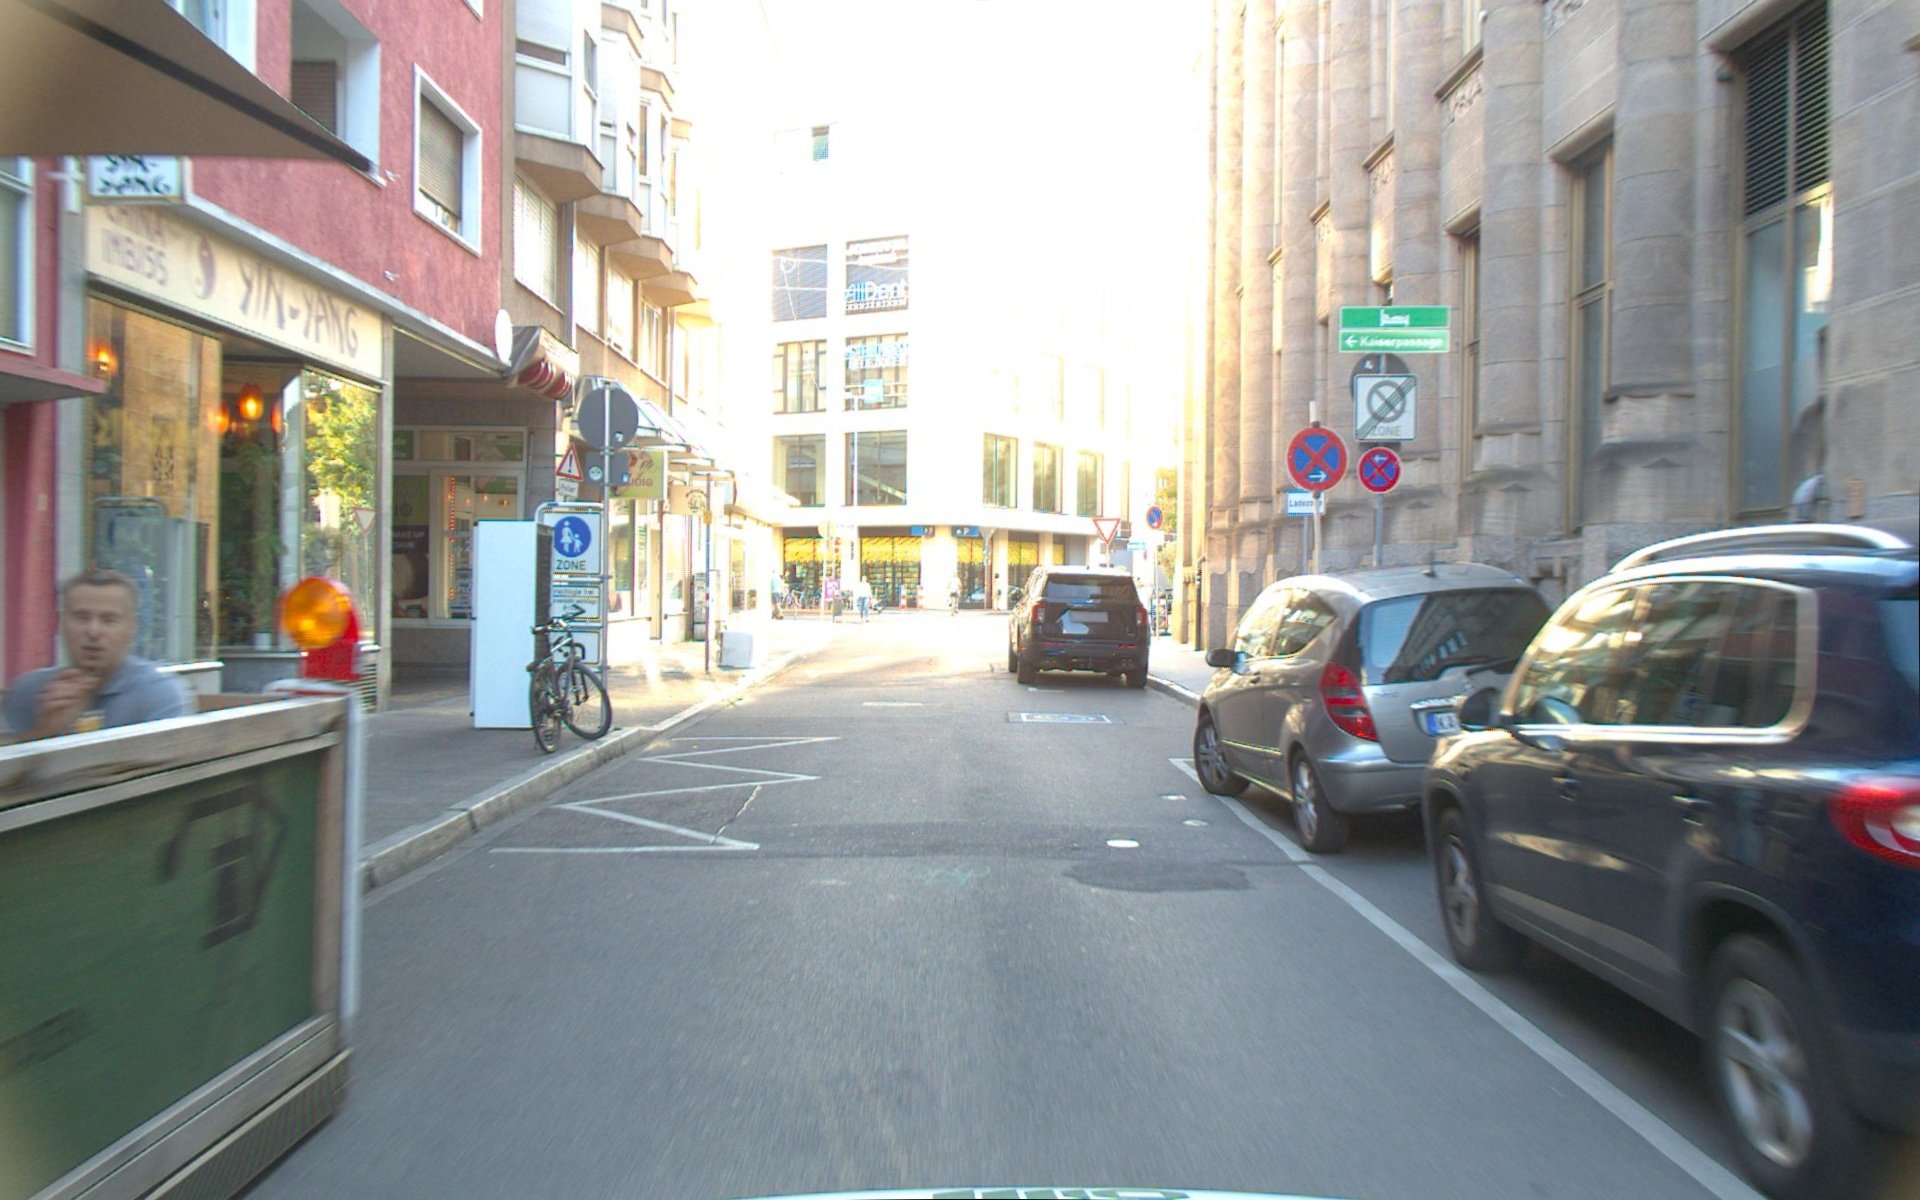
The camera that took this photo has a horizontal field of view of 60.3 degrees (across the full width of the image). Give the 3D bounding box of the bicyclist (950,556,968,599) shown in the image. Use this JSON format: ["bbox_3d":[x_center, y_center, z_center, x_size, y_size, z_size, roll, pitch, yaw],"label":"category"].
[{"bbox_3d":[-0.057,-0.902,67.330,0.669,1.725,0.644,1,0,-4],"label":"bicyclist"}]

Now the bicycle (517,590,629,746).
[{"bbox_3d":[-3.245,0.535,14.015,0.532,1.212,1.842,1,1,-1],"label":"bicycle"}]

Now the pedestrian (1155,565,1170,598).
[{"bbox_3d":[11.579,-1.075,94.582,0.659,1.868,0.646,1,0,28],"label":"pedestrian"}]

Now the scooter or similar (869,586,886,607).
[{"bbox_3d":[-3.542,-0.146,71.263,0.379,0.899,0.769,1,0,29],"label":"scooter or similar"}]

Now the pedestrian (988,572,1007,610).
[{"bbox_3d":[1.781,-0.433,78.415,0.659,1.775,0.646,1,0,31],"label":"pedestrian"}]

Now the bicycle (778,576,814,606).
[{"bbox_3d":[-7.113,-0.392,71.647,0.502,1.277,1.976,1,0,28],"label":"bicycle"}]

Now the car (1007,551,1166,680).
[{"bbox_3d":[1.872,0.189,26.032,1.953,1.814,4.933,1,1,-2],"label":"car"}]

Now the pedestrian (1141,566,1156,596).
[{"bbox_3d":[10.829,-1.097,95.031,0.659,1.704,0.646,1,0,28],"label":"pedestrian"}]

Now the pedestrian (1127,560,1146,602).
[{"bbox_3d":[7.319,-0.794,68.610,0.688,1.699,0.643,1,2,17],"label":"pedestrian"}]

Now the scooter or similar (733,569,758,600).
[{"bbox_3d":[-9.086,-0.641,70.102,0.379,1.282,1.269,1,0,28],"label":"scooter or similar"}]

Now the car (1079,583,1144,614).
[{"bbox_3d":[7.725,-0.087,84.162,1.744,1.478,4.224,1,1,29],"label":"car"}]

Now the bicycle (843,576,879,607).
[{"bbox_3d":[-4.177,-0.341,69.972,0.569,1.277,2.042,1,0,26],"label":"bicycle"}]

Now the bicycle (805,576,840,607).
[{"bbox_3d":[-5.889,-0.345,70.958,0.502,1.277,1.976,1,0,28],"label":"bicycle"}]

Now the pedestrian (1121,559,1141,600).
[{"bbox_3d":[7.191,-0.853,69.493,0.688,1.699,0.643,1,2,17],"label":"pedestrian"}]

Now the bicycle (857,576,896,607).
[{"bbox_3d":[-3.493,-0.345,69.657,0.651,1.277,2.138,1,0,26],"label":"bicycle"}]

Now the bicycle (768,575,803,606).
[{"bbox_3d":[-7.582,-0.403,71.953,0.502,1.277,1.976,1,0,28],"label":"bicycle"}]

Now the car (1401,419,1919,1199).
[{"bbox_3d":[2.835,0.540,5.390,1.636,1.838,4.239,2,1,0],"label":"car"}]

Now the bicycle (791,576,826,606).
[{"bbox_3d":[-6.543,-0.370,71.368,0.502,1.277,1.976,1,0,27],"label":"bicycle"}]

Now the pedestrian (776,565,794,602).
[{"bbox_3d":[-8.341,-0.773,78.899,0.627,1.753,0.839,1,0,-25],"label":"pedestrian"}]

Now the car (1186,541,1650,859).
[{"bbox_3d":[2.746,0.519,10.889,1.738,1.695,3.997,0,1,-4],"label":"car"}]

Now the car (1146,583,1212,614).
[{"bbox_3d":[12.200,-0.082,91.853,1.850,1.626,4.677,1,1,32],"label":"car"}]

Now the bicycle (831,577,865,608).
[{"bbox_3d":[-4.750,-0.328,70.226,0.502,1.277,1.977,1,0,26],"label":"bicycle"}]

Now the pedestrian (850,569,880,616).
[{"bbox_3d":[-3.355,-0.272,58.472,0.794,1.641,0.727,1,0,-30],"label":"pedestrian"}]

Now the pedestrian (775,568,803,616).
[{"bbox_3d":[-6.092,-0.281,59.031,0.857,1.687,0.615,1,0,-21],"label":"pedestrian"}]

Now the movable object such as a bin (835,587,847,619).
[{"bbox_3d":[-4.088,0.096,56.811,0.352,1.082,0.355,1,0,-11],"label":"movable object such as a bin"}]

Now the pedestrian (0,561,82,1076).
[{"bbox_3d":[-2.315,0.452,3.535,0.599,1.081,0.546,1,0,-9],"label":"pedestrian"}]

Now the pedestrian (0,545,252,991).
[{"bbox_3d":[-2.248,0.409,4.304,0.599,1.081,0.546,1,0,-9],"label":"pedestrian"}]

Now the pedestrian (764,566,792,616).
[{"bbox_3d":[-6.154,-0.304,55.984,0.716,1.641,0.806,1,0,10],"label":"pedestrian"}]

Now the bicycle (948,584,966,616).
[{"bbox_3d":[-0.115,-0.015,67.487,0.598,1.277,1.978,1,0,-3],"label":"bicycle"}]
